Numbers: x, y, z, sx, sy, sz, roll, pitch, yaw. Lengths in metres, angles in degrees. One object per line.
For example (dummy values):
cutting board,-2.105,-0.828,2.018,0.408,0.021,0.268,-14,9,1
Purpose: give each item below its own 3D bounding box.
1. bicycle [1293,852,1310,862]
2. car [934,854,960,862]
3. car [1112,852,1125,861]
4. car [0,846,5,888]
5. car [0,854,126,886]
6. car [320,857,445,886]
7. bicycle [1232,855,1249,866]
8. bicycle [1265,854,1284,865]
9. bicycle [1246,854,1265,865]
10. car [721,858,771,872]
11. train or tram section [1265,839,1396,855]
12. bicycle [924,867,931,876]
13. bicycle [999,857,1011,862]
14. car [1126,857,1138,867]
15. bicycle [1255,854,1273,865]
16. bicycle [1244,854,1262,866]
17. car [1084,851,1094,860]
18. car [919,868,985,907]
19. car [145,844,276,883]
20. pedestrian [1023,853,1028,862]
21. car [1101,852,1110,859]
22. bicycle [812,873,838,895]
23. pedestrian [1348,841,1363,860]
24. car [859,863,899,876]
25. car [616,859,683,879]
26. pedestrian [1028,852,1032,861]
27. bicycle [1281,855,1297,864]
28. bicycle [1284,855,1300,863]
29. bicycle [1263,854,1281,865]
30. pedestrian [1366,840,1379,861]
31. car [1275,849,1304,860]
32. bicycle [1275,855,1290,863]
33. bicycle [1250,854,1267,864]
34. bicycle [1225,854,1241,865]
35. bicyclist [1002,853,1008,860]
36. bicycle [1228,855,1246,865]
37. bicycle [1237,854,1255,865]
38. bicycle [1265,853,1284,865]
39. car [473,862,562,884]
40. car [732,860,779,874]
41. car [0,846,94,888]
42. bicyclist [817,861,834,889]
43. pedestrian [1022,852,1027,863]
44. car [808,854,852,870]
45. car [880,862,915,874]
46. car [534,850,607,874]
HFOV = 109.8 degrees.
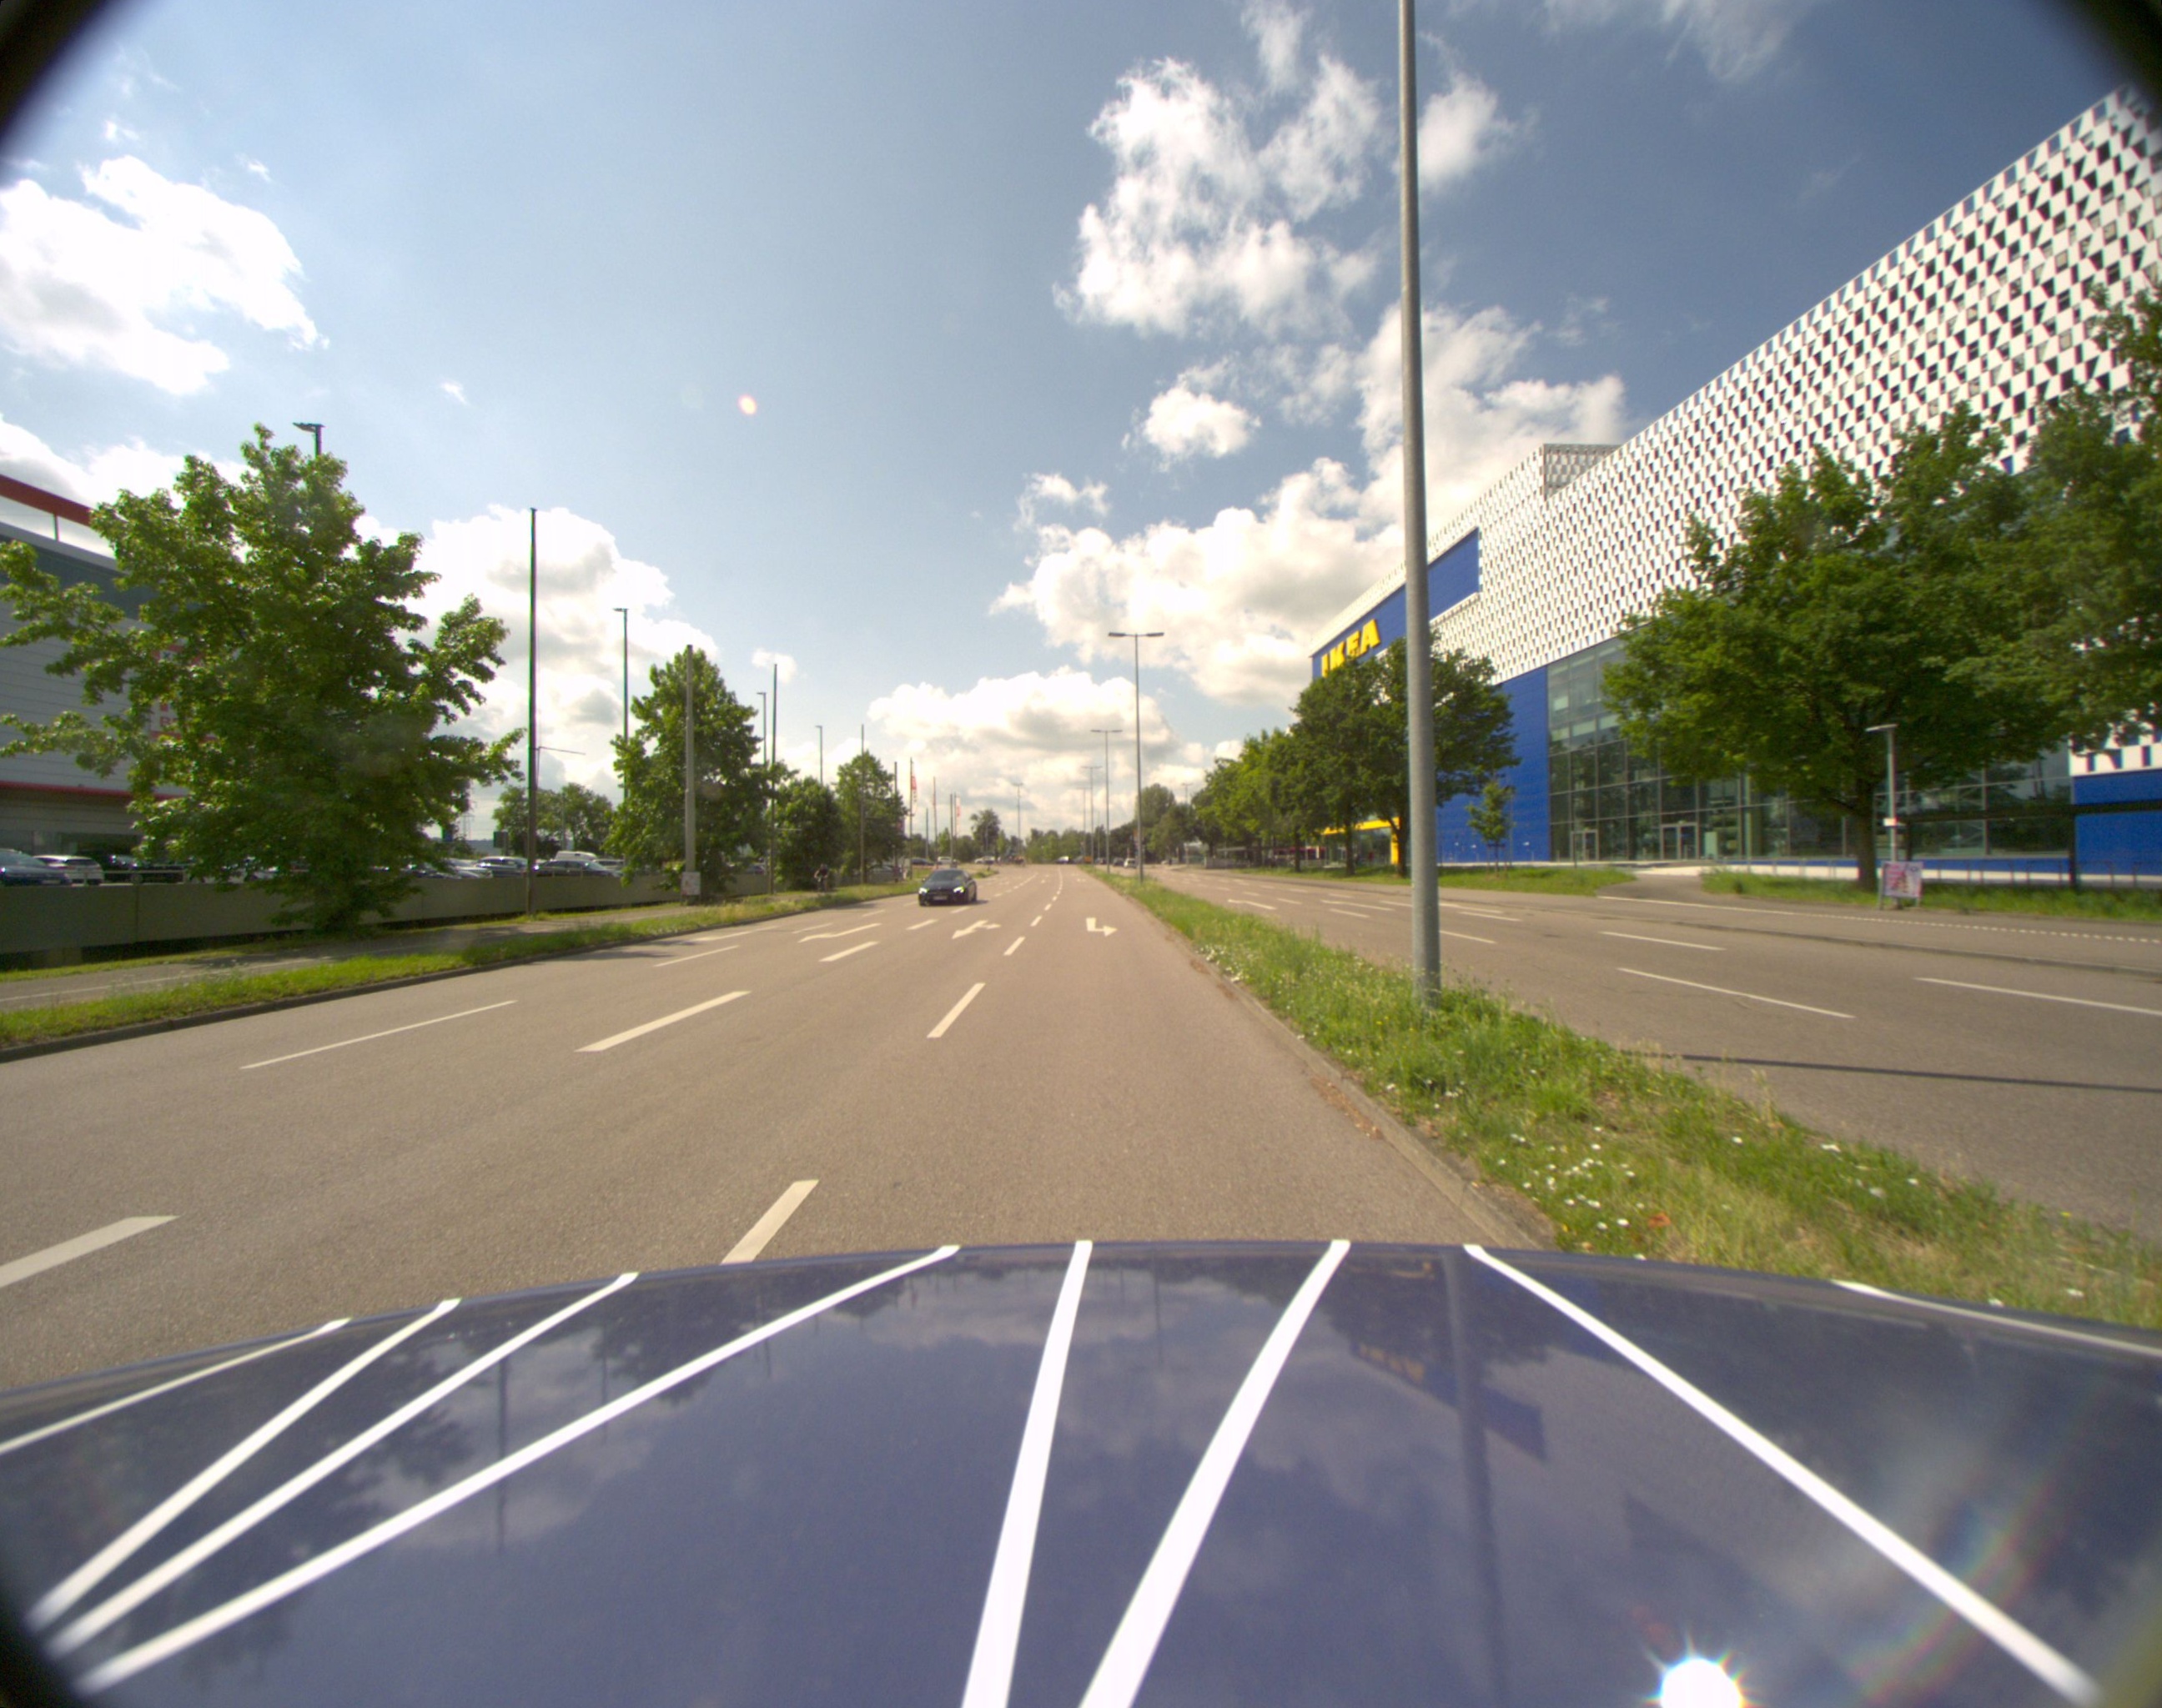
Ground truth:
bicycle,27.911,0.428,96.173,1.940,1.202,0.528,-1,1,-6
car,-23.975,0.766,135.832,4.497,1.404,2.012,0,0,-8
car,6.208,0.444,126.516,1.668,1.413,4.517,1,0,-2
car,-38.534,0.423,24.815,4.195,1.425,1.726,0,-1,-2
car,-49.051,0.784,36.582,3.997,1.411,1.629,-2,-1,-2
car,-33.875,0.858,36.943,4.196,1.381,1.892,0,-1,-4
bicycle,19.486,0.747,92.728,1.930,1.265,0.629,-2,0,-2
bicycle,21.514,0.629,84.543,1.930,1.177,0.629,-2,0,-2
bicycle,19.634,0.654,85.476,1.930,1.176,0.629,-2,0,-2
car,-34.781,1.170,78.945,4.369,1.354,1.847,0,-1,0
train or tram section,50.020,-1.437,152.780,25.117,3.014,4.529,0,0,-3
bicycle,-16.287,1.868,80.624,0.518,0.947,1.543,-2,1,-2
bicycle,-12.996,0.942,130.267,1.992,0.955,0.595,-1,-1,-42
car,7.661,1.160,114.358,1.647,1.420,3.670,0,0,0
bicycle,21.761,0.615,90.436,1.930,1.265,0.629,-2,0,-2
bicycle,19.596,0.691,86.628,1.930,1.265,0.629,-2,0,-2
car,1.463,0.255,142.222,1.608,1.484,4.131,1,0,-2
car,-5.056,1.287,30.355,1.797,1.311,4.163,-2,0,2
car,-42.218,0.474,36.910,3.997,1.710,2.000,-2,-1,-1
pedestrian,-9.488,0.537,129.762,0.585,1.515,0.469,-2,1,7
car,4.644,0.245,144.277,1.415,1.383,4.095,1,0,-1
bicycle,-12.766,1.495,37.957,0.625,1.061,1.968,0,0,-1
pedestrian,24.758,-0.283,68.620,0.952,1.692,0.887,-2,0,-1
car,-25.072,1.900,94.269,4.369,1.468,1.857,-2,0,0
car,-33.686,1.151,59.368,4.194,1.543,1.764,0,-1,-3
pedestrian,-8.726,0.503,130.494,0.556,1.515,0.470,-2,0,7
bicycle,27.018,0.687,98.858,1.935,1.083,0.520,-1,0,-5
bicycle,27.116,0.620,97.779,1.940,1.064,0.528,-1,1,-6
bicycle,21.759,0.657,86.644,1.930,1.172,0.629,-2,0,-2
pedestrian,26.465,-0.320,68.967,0.755,1.812,0.887,-2,0,-1
car,39.265,0.127,142.942,4.821,2.001,1.999,-1,-1,-5
bicycle,26.920,0.688,101.571,1.940,1.064,0.528,-1,1,-6
bicycle,21.643,0.616,92.809,1.930,1.265,0.629,-2,0,-2
bicycle,19.301,0.716,96.368,1.930,1.265,0.629,-2,0,-2
bicyclist,-13.031,0.416,130.256,0.689,1.317,0.591,-1,-1,-42
bicycle,19.313,0.756,93.936,2.095,1.265,0.629,-2,0,-2
bicycle,19.607,0.682,90.358,1.930,1.265,0.629,-2,0,-2
bicycle,21.818,0.546,85.549,1.930,1.265,0.629,-2,0,-2
car,-34.644,1.165,46.805,4.194,1.317,1.688,0,0,-1
car,-34.835,1.388,81.323,4.369,1.433,1.627,0,-1,0
car,-39.195,0.512,27.550,4.195,1.425,1.893,-1,-1,-2
bicyclist,-12.775,1.035,37.983,0.617,1.404,0.715,-1,0,-1
pedestrian,-9.470,0.577,128.237,0.688,1.718,0.701,0,2,10
car,-25.690,0.859,77.838,4.026,1.578,1.695,-1,-1,-3
car,-25.289,1.924,104.913,4.370,1.431,1.796,-1,0,-1
car,-69.614,1.004,103.731,7.898,3.136,3.122,-1,1,1
